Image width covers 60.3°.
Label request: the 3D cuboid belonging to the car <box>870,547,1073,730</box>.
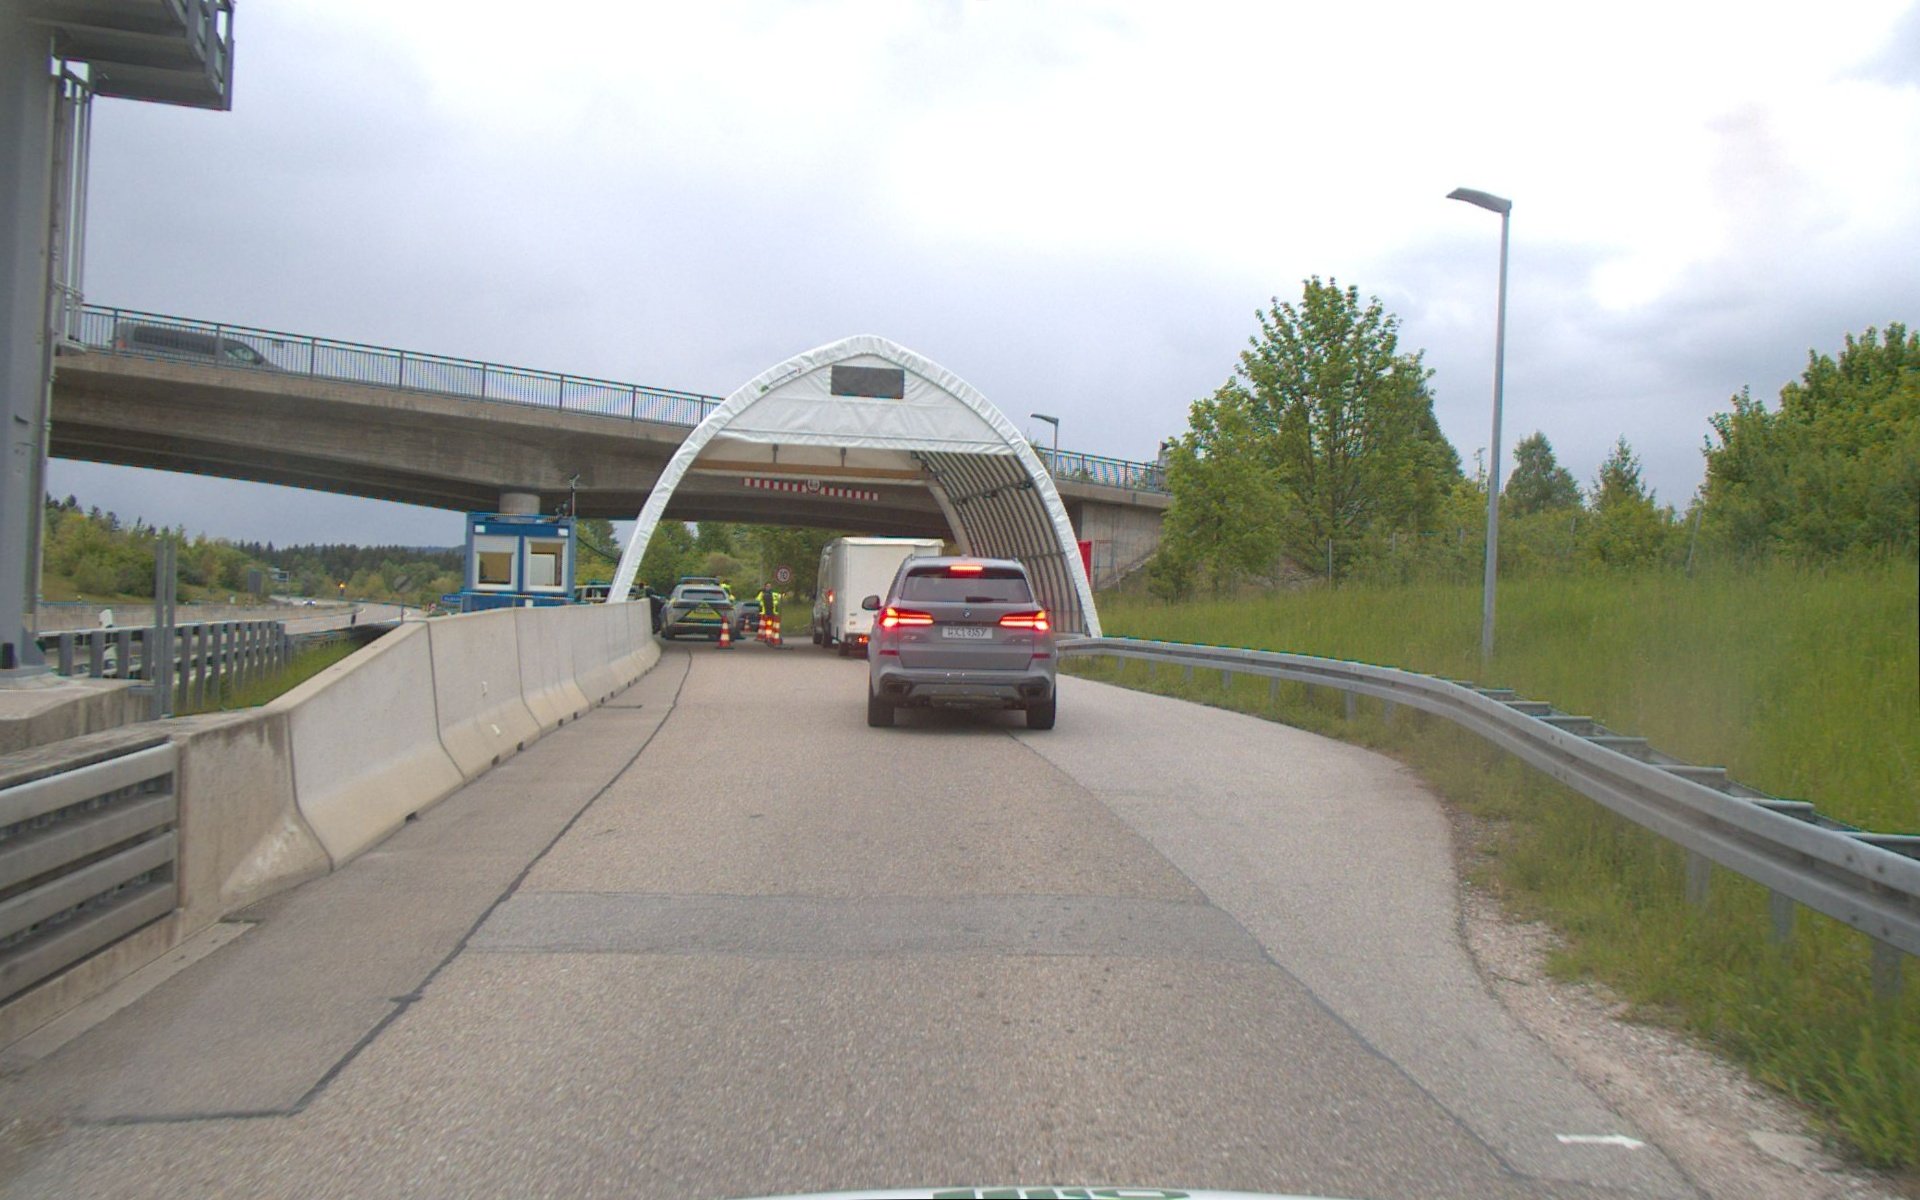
[{"bbox_3d":[0.017,0.397,18.077,1.954,1.750,3.997,1,-1,-3],"label":"car"}]

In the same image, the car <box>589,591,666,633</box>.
[{"bbox_3d":[-12.175,0.424,60.424,1.503,1.467,3.272,1,0,-37],"label":"car"}]

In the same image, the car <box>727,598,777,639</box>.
[{"bbox_3d":[-9.800,0.861,77.710,1.676,1.886,3.981,0,0,-17],"label":"car"}]

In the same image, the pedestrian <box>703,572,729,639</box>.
[{"bbox_3d":[-7.246,0.169,49.155,0.707,1.979,0.688,1,-1,-12],"label":"pedestrian"}]

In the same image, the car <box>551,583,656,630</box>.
[{"bbox_3d":[-14.630,0.261,67.984,3.903,1.886,1.710,0,0,4],"label":"car"}]

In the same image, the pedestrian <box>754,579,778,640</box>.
[{"bbox_3d":[-5.788,0.273,49.418,0.637,1.807,0.604,1,-1,-14],"label":"pedestrian"}]

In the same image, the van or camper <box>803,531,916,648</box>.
[{"bbox_3d":[-2.709,-0.215,43.086,2.118,2.812,5.854,1,-1,-11],"label":"van or camper"}]

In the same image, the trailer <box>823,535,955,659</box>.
[{"bbox_3d":[-1.705,-0.007,36.827,2.236,2.473,6.804,1,-1,-8],"label":"trailer"}]

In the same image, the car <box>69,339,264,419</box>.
[{"bbox_3d":[-23.345,-6.469,48.781,4.890,1.677,1.972,1,-1,-39],"label":"car"}]

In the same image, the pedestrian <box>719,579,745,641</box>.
[{"bbox_3d":[-6.613,0.290,48.009,0.707,1.807,0.688,1,-1,-12],"label":"pedestrian"}]

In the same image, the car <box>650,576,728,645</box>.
[{"bbox_3d":[-7.501,0.282,45.519,1.958,1.803,3.754,1,0,-12],"label":"car"}]
